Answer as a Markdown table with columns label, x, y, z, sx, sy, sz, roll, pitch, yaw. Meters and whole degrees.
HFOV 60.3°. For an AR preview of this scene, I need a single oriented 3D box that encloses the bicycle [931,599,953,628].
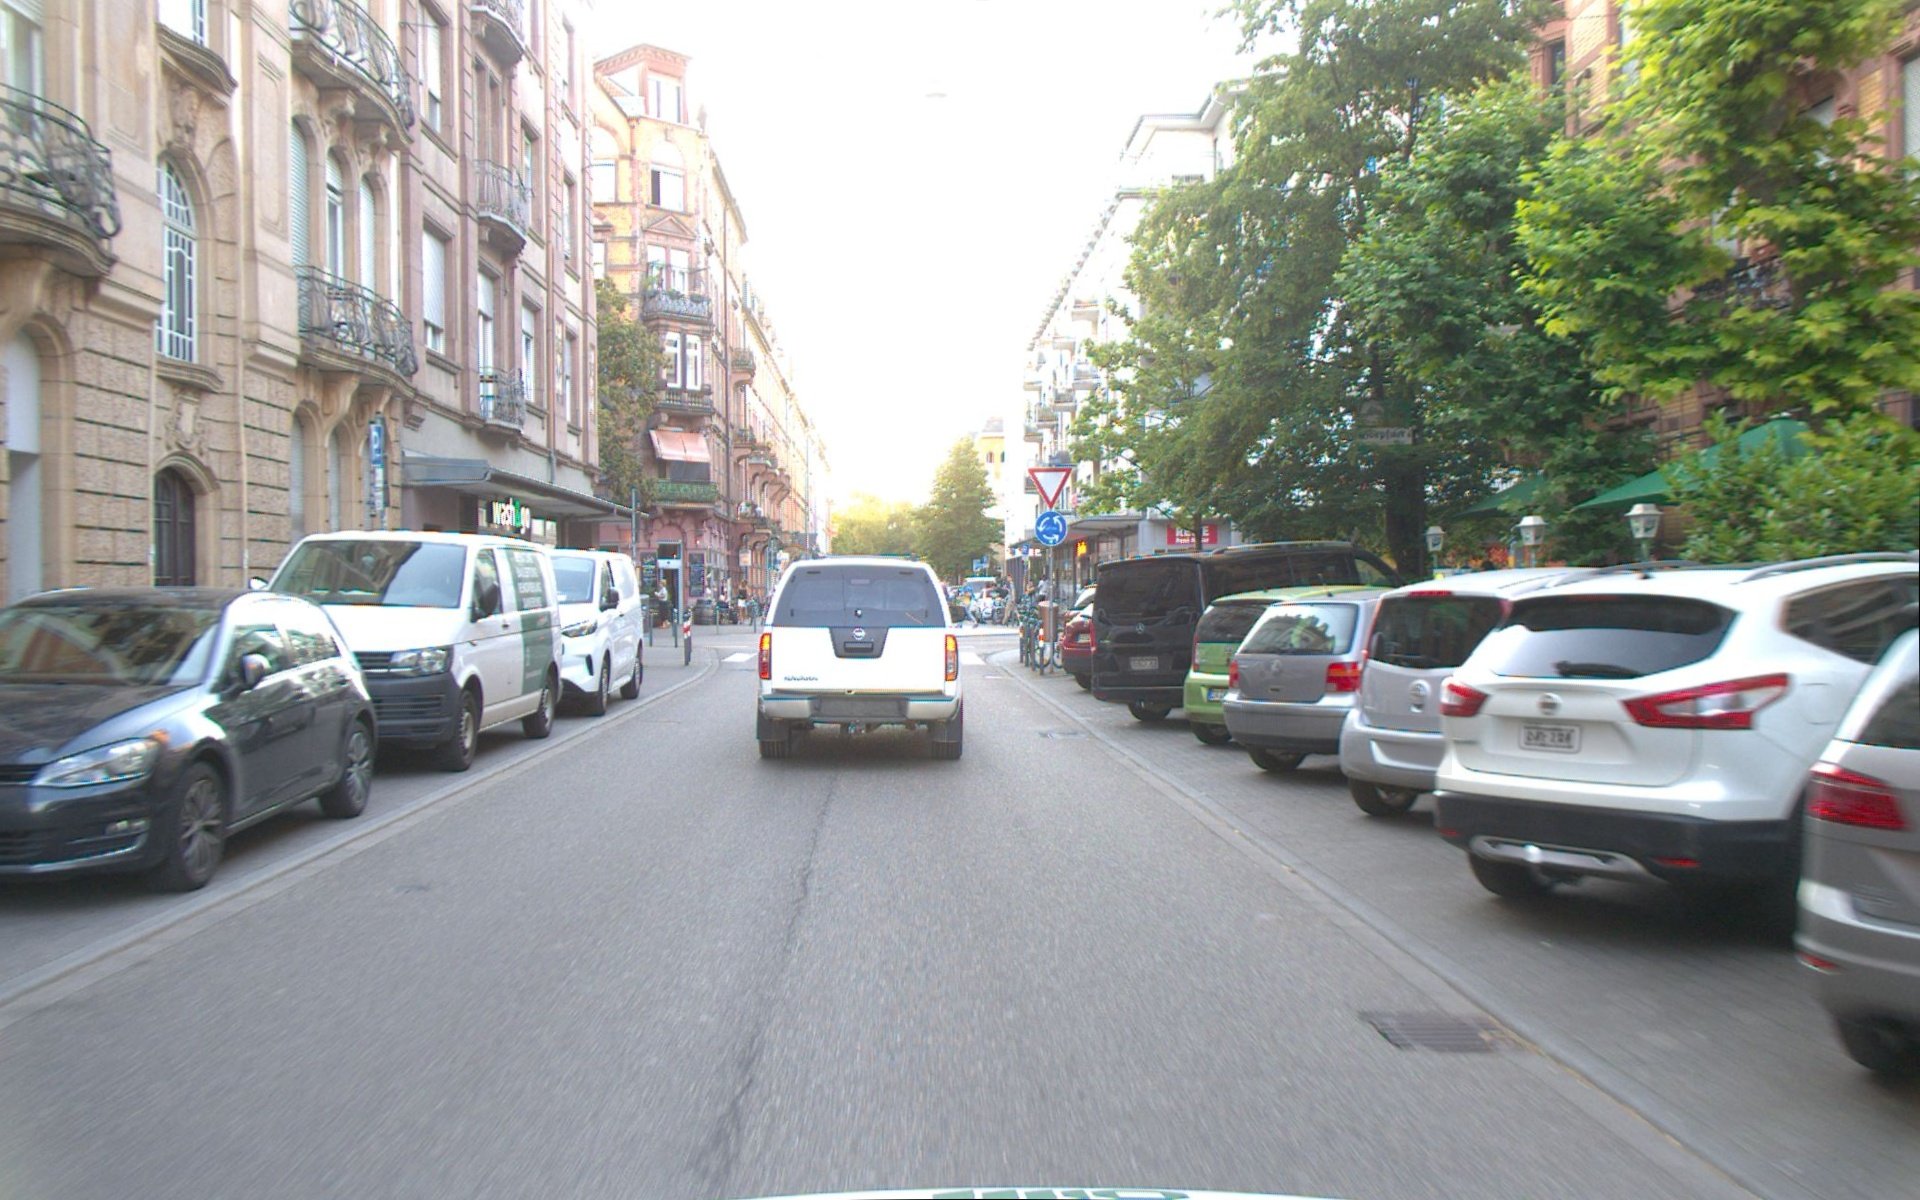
| label | x | y | z | sx | sy | sz | roll | pitch | yaw |
| --- | --- | --- | --- | --- | --- | --- | --- | --- | --- |
| bicycle | -0.736 | 0.561 | 69.045 | 0.821 | 1.192 | 1.936 | 1 | 0 | 1 |

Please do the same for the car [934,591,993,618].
| label | x | y | z | sx | sy | sz | roll | pitch | yaw |
| --- | --- | --- | --- | --- | --- | --- | --- | --- | --- |
| car | 0.252 | 0.312 | 112.786 | 3.908 | 1.780 | 1.839 | 1 | 0 | -4 |

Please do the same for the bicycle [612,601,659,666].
| label | x | y | z | sx | sy | sz | roll | pitch | yaw |
| --- | --- | --- | --- | --- | --- | --- | --- | --- | --- |
| bicycle | -5.991 | 0.613 | 30.604 | 0.462 | 1.162 | 1.785 | 1 | 0 | 1 |

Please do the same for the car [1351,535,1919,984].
| label | x | y | z | sx | sy | sz | roll | pitch | yaw |
| --- | --- | --- | --- | --- | --- | --- | --- | --- | --- |
| car | 4.050 | 0.550 | 8.202 | 4.060 | 1.618 | 1.797 | -4 | 1 | -34 |

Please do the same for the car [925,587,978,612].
| label | x | y | z | sx | sy | sz | roll | pitch | yaw |
| --- | --- | --- | --- | --- | --- | --- | --- | --- | --- |
| car | -0.655 | -0.015 | 124.694 | 3.908 | 1.780 | 1.839 | 1 | 0 | -4 |

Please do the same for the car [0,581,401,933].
| label | x | y | z | sx | sy | sz | roll | pitch | yaw |
| --- | --- | --- | --- | --- | --- | --- | --- | --- | --- |
| car | -4.543 | 0.662 | 9.083 | 1.801 | 1.496 | 4.169 | 0 | 0 | -4 |

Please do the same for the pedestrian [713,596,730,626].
| label | x | y | z | sx | sy | sz | roll | pitch | yaw |
| --- | --- | --- | --- | --- | --- | --- | --- | --- | --- |
| pedestrian | -9.567 | 0.439 | 66.324 | 0.636 | 1.211 | 0.539 | 1 | -1 | -7 |

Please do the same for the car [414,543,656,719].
| label | x | y | z | sx | sy | sz | roll | pitch | yaw |
| --- | --- | --- | --- | --- | --- | --- | --- | --- | --- |
| car | -5.206 | 0.333 | 20.992 | 2.068 | 1.955 | 5.022 | 0 | 0 | -4 |

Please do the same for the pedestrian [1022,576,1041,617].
| label | x | y | z | sx | sy | sz | roll | pitch | yaw |
| --- | --- | --- | --- | --- | --- | --- | --- | --- | --- |
| pedestrian | 3.022 | -0.150 | 69.947 | 0.705 | 1.692 | 0.702 | 1 | -1 | -2 |

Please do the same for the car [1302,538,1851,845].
| label | x | y | z | sx | sy | sz | roll | pitch | yaw |
| --- | --- | --- | --- | --- | --- | --- | --- | --- | --- |
| car | 4.372 | 0.484 | 11.431 | 4.073 | 1.618 | 1.792 | -4 | 2 | -41 |

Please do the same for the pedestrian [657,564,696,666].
| label | x | y | z | sx | sy | sz | roll | pitch | yaw |
| --- | --- | --- | --- | --- | --- | --- | --- | --- | --- |
| pedestrian | -5.304 | 0.280 | 30.959 | 0.525 | 1.855 | 0.997 | 1 | -1 | 1 |

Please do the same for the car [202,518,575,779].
| label | x | y | z | sx | sy | sz | roll | pitch | yaw |
| --- | --- | --- | --- | --- | --- | --- | --- | --- | --- |
| car | -4.868 | 0.352 | 14.894 | 1.800 | 1.955 | 4.844 | 0 | 0 | -2 |

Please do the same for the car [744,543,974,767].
| label | x | y | z | sx | sy | sz | roll | pitch | yaw |
| --- | --- | --- | --- | --- | --- | --- | --- | --- | --- |
| car | -0.866 | 0.472 | 16.304 | 1.898 | 1.842 | 5.000 | 1 | 0 | -1 |

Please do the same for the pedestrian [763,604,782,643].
| label | x | y | z | sx | sy | sz | roll | pitch | yaw |
| --- | --- | --- | --- | --- | --- | --- | --- | --- | --- |
| pedestrian | -7.938 | 0.996 | 70.042 | 0.782 | 1.649 | 0.943 | 1 | -1 | -5 |

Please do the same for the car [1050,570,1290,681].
| label | x | y | z | sx | sy | sz | roll | pitch | yaw |
| --- | --- | --- | --- | --- | --- | --- | --- | --- | --- |
| car | 3.639 | 0.384 | 28.415 | 4.002 | 1.656 | 1.673 | -3 | 2 | -35 |

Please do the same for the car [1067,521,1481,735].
| label | x | y | z | sx | sy | sz | roll | pitch | yaw |
| --- | --- | --- | --- | --- | --- | --- | --- | --- | --- |
| car | 3.893 | 0.225 | 19.815 | 5.390 | 2.108 | 1.904 | -4 | 2 | -41 |

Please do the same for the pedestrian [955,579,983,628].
| label | x | y | z | sx | sy | sz | roll | pitch | yaw |
| --- | --- | --- | --- | --- | --- | --- | --- | --- | --- |
| pedestrian | 0.331 | 0.125 | 59.704 | 0.884 | 1.767 | 0.616 | 1 | -1 | 16 |

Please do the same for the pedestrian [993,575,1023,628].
| label | x | y | z | sx | sy | sz | roll | pitch | yaw |
| --- | --- | --- | --- | --- | --- | --- | --- | --- | --- |
| pedestrian | 1.762 | 0.055 | 60.157 | 0.895 | 1.918 | 0.609 | 1 | -1 | -34 |

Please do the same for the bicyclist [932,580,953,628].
| label | x | y | z | sx | sy | sz | roll | pitch | yaw |
| --- | --- | --- | --- | --- | --- | --- | --- | --- | --- |
| bicyclist | -0.733 | 0.168 | 68.947 | 0.821 | 1.978 | 0.785 | 1 | -1 | 2 |

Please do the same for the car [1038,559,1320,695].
| label | x | y | z | sx | sy | sz | roll | pitch | yaw |
| --- | --- | --- | --- | --- | --- | --- | --- | --- | --- |
| car | 3.376 | 0.359 | 25.063 | 4.188 | 1.717 | 1.905 | -4 | 2 | -41 |

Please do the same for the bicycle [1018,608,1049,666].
| label | x | y | z | sx | sy | sz | roll | pitch | yaw |
| --- | --- | --- | --- | --- | --- | --- | --- | --- | --- |
| bicycle | 1.407 | 0.699 | 31.699 | 0.357 | 1.082 | 1.550 | 1 | 0 | -6 |

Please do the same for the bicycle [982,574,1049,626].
| label | x | y | z | sx | sy | sz | roll | pitch | yaw |
| --- | --- | --- | --- | --- | --- | --- | --- | --- | --- |
| bicycle | 2.211 | 0.000 | 66.072 | 2.594 | 2.049 | 0.637 | 1 | -1 | -2 |

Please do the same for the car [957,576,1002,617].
| label | x | y | z | sx | sy | sz | roll | pitch | yaw |
| --- | --- | --- | --- | --- | --- | --- | --- | --- | --- |
| car | 0.938 | -0.161 | 81.465 | 1.904 | 1.967 | 3.997 | 1 | 0 | -3 |

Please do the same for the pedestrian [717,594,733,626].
| label | x | y | z | sx | sy | sz | roll | pitch | yaw |
| --- | --- | --- | --- | --- | --- | --- | --- | --- | --- |
| pedestrian | -9.590 | 0.396 | 67.510 | 0.636 | 1.308 | 0.539 | 1 | -1 | -7 |

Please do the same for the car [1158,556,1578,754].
| label | x | y | z | sx | sy | sz | roll | pitch | yaw |
| --- | --- | --- | --- | --- | --- | --- | --- | --- | --- |
| car | 4.122 | 0.465 | 16.487 | 4.061 | 1.578 | 1.797 | -4 | 2 | -34 |

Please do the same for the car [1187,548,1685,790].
| label | x | y | z | sx | sy | sz | roll | pitch | yaw |
| --- | --- | --- | --- | --- | --- | --- | --- | --- | --- |
| car | 4.034 | 0.471 | 13.801 | 4.061 | 1.578 | 1.797 | -4 | 2 | -34 |

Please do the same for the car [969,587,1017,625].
| label | x | y | z | sx | sy | sz | roll | pitch | yaw |
| --- | --- | --- | --- | --- | --- | --- | --- | --- | --- |
| car | 1.443 | 0.265 | 72.701 | 1.798 | 1.569 | 3.997 | 1 | 0 | -3 |

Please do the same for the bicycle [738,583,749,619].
| label | x | y | z | sx | sy | sz | roll | pitch | yaw |
| --- | --- | --- | --- | --- | --- | --- | --- | --- | --- |
| bicycle | -8.912 | 0.048 | 68.159 | 0.416 | 1.468 | 1.901 | 1 | 0 | -7 |

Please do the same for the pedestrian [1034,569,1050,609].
| label | x | y | z | sx | sy | sz | roll | pitch | yaw |
| --- | --- | --- | --- | --- | --- | --- | --- | --- | --- |
| pedestrian | 3.984 | -0.527 | 80.105 | 0.705 | 1.940 | 0.702 | 1 | -1 | -2 |

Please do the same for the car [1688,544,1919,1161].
| label | x | y | z | sx | sy | sz | roll | pitch | yaw |
| --- | --- | --- | --- | --- | --- | --- | --- | --- | --- |
| car | 4.405 | 0.574 | 5.298 | 4.117 | 1.618 | 1.864 | -4 | 2 | -34 |
